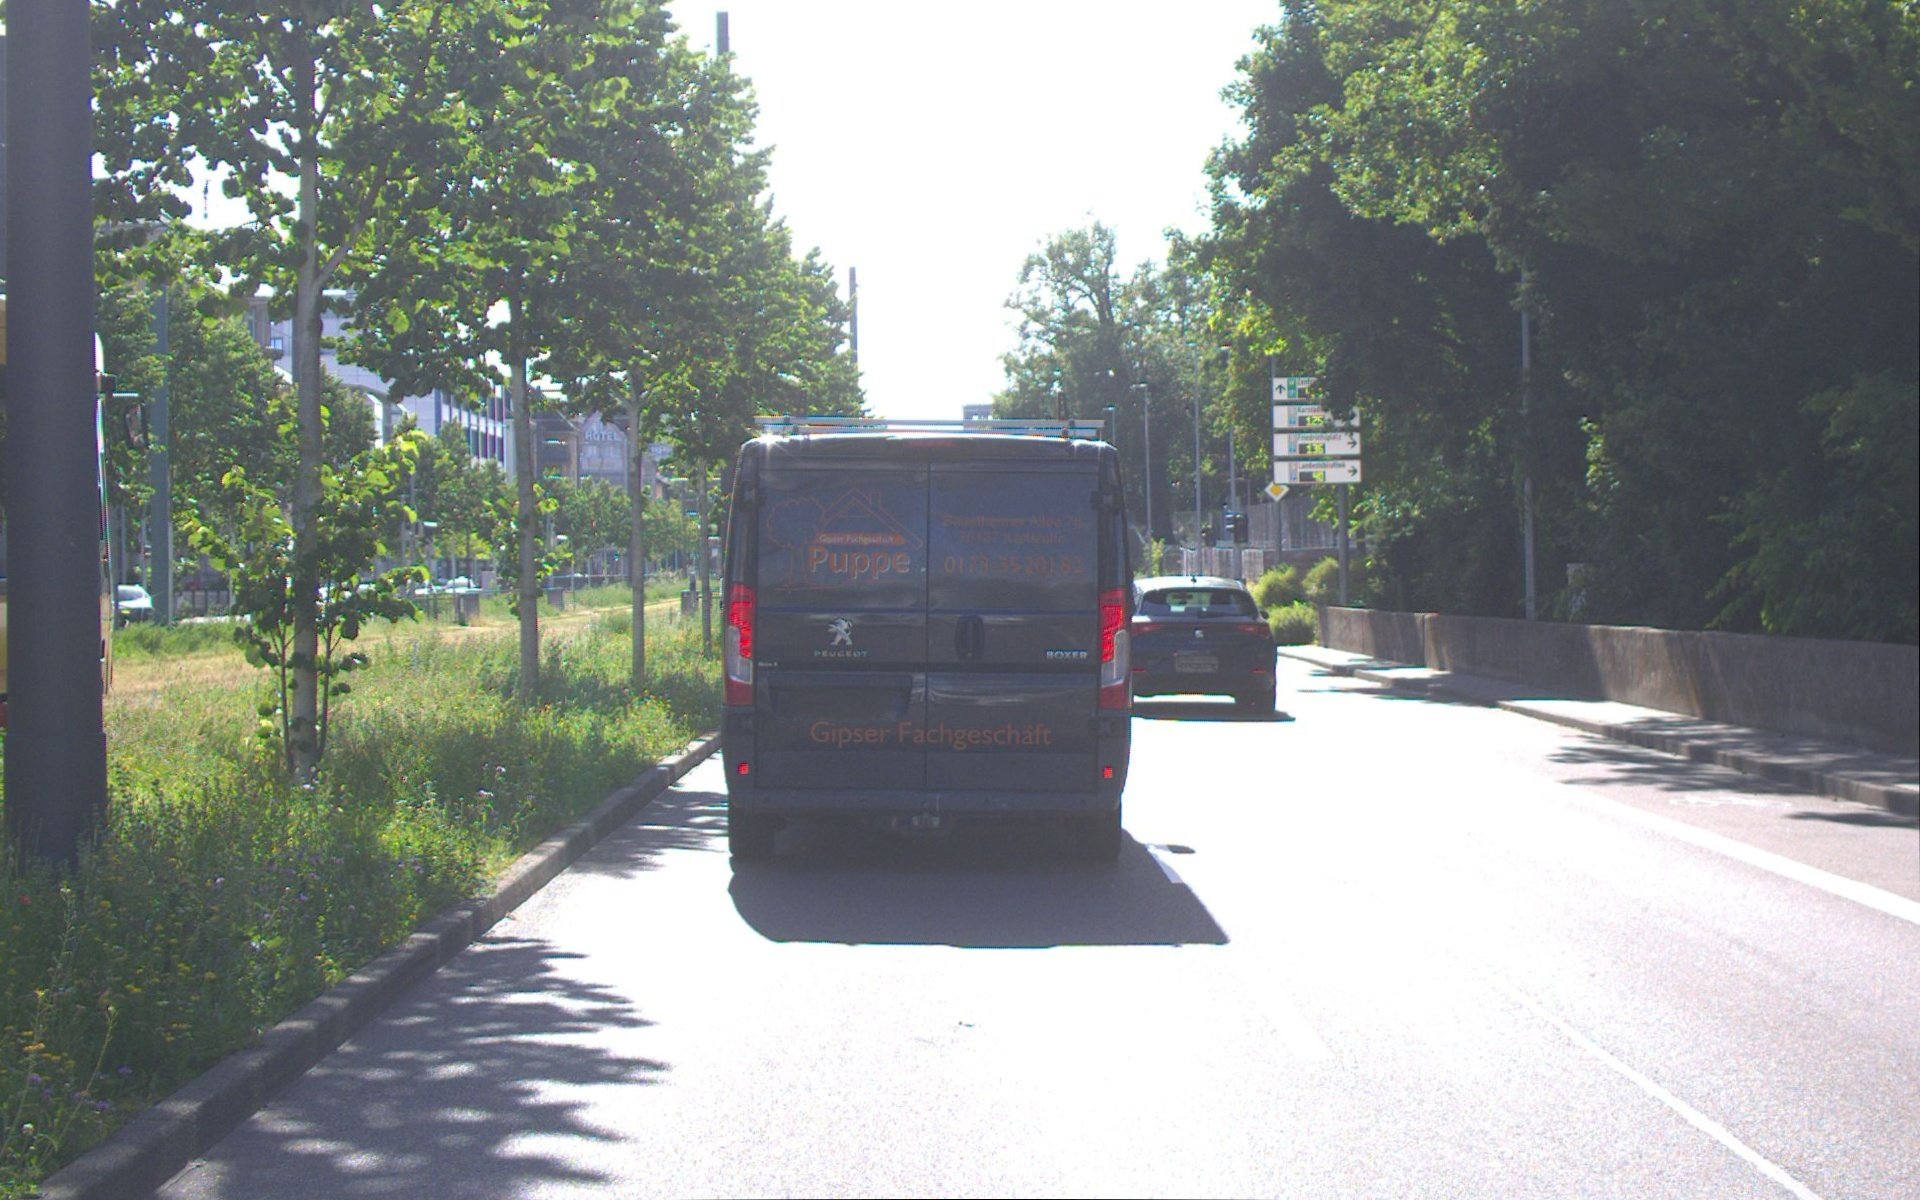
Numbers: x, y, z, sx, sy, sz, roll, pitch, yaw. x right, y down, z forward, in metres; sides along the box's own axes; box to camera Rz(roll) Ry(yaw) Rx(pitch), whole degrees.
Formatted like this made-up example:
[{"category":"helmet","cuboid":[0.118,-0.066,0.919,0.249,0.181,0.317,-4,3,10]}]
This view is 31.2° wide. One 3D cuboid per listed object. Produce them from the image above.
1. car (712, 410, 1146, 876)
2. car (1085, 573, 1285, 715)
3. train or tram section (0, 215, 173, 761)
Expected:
[{"category":"car","cuboid":[-0.183,0.191,18.618,2.082,2.241,4.000,0,0,-1]},{"category":"car","cuboid":[2.401,0.435,37.584,1.763,1.457,4.000,0,0,-2]},{"category":"train or tram section","cuboid":[-7.432,-0.749,22.196,1.993,3.657,11.684,0,0,0]}]
